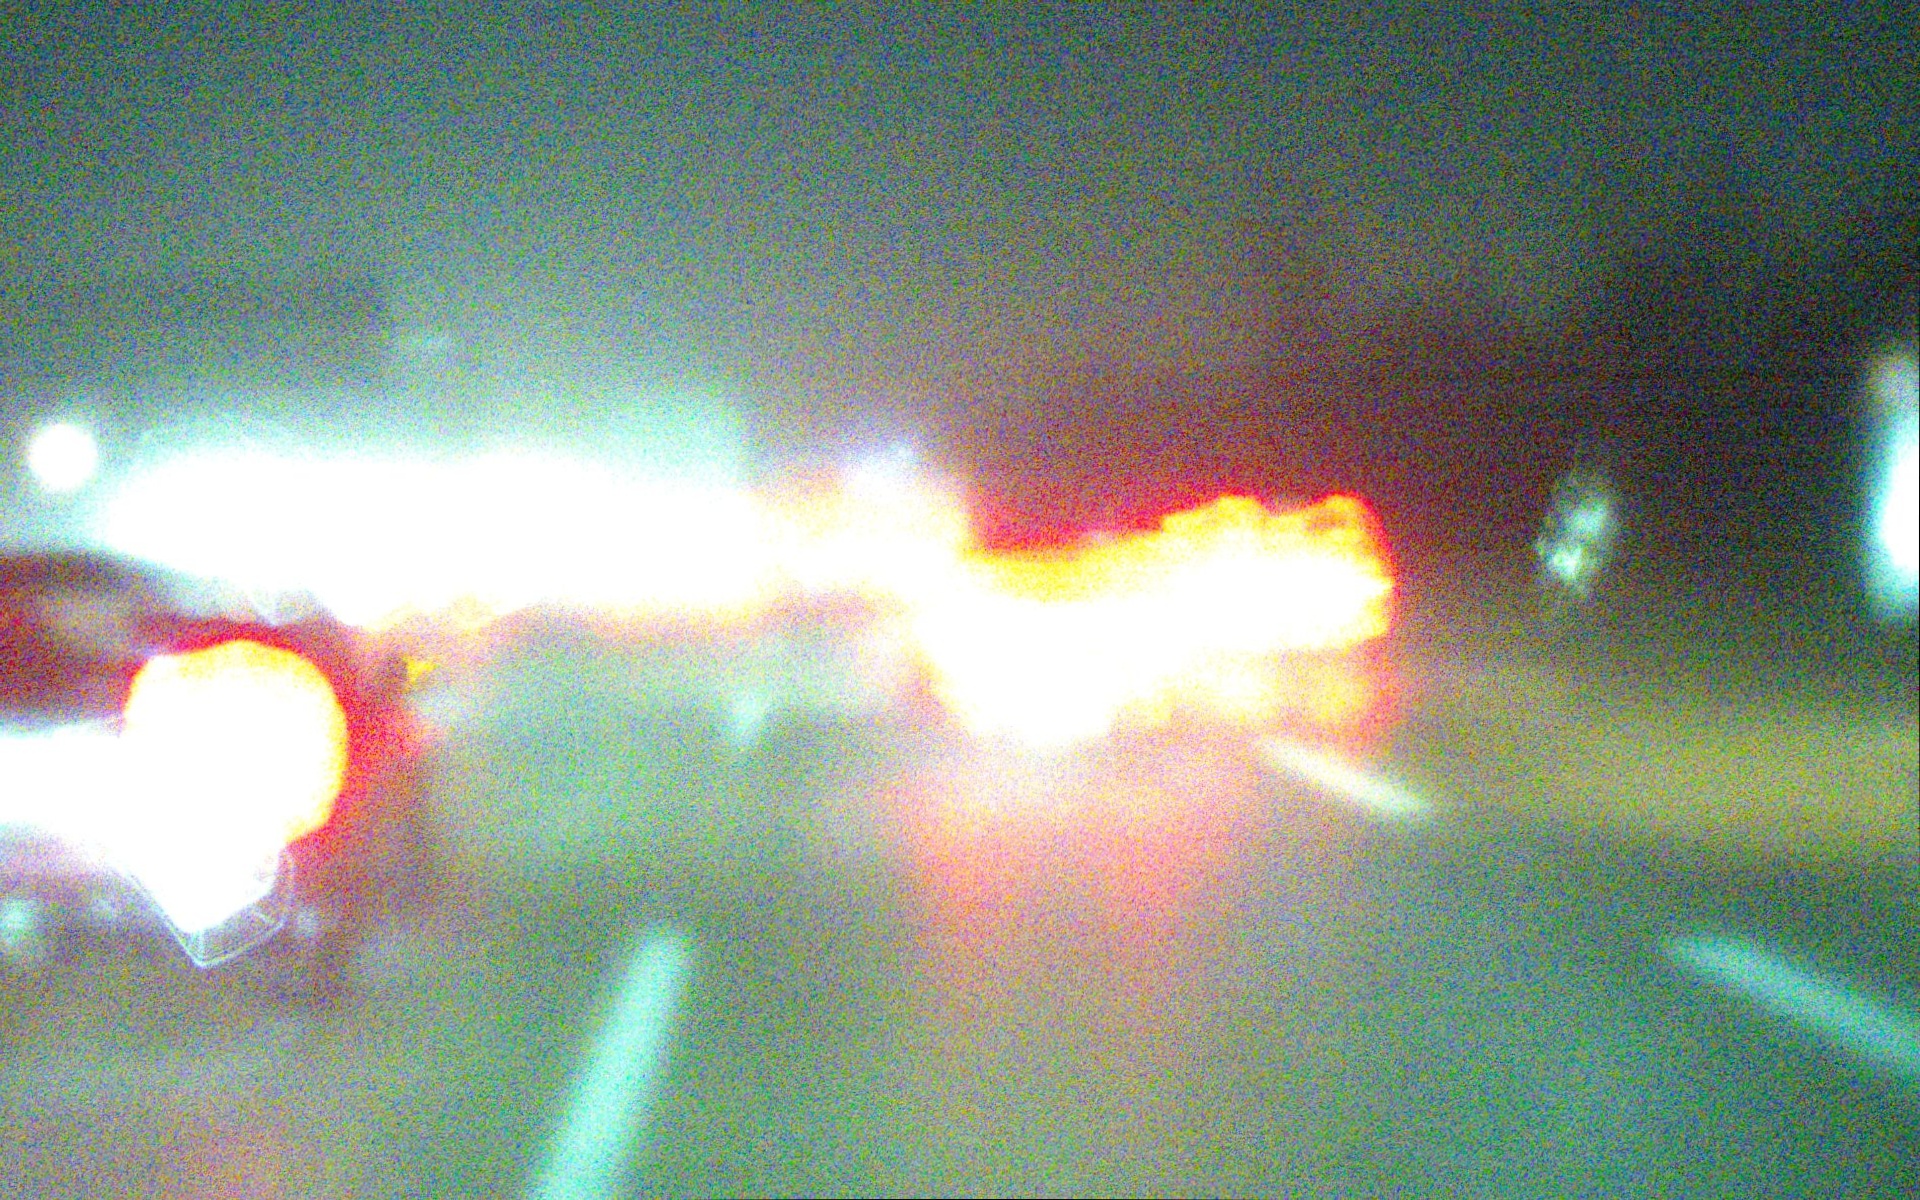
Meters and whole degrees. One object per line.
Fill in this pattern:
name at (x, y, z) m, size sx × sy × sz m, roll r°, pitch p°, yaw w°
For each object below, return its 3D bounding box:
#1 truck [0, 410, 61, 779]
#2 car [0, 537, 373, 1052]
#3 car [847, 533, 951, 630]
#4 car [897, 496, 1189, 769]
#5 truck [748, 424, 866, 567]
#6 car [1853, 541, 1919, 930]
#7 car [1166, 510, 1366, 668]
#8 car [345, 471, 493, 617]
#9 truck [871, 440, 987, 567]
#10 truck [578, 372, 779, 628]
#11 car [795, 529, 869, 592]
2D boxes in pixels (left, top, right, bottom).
truck at (-7.045, -0.037, 19.359) m, size 2.856 × 2.193 × 5.859 m, roll 1°, pitch 1°, yaw -5°
car at (-2.959, 0.516, 11.864) m, size 1.656 × 1.426 × 4.247 m, roll 0°, pitch 1°, yaw -7°
car at (-1.177, -0.368, 65.024) m, size 1.765 × 1.756 × 4.001 m, roll 1°, pitch 1°, yaw -4°
car at (0.479, 0.151, 23.337) m, size 1.765 × 1.683 × 4.001 m, roll 0°, pitch 1°, yaw -2°
truck at (-6.017, -4.049, 137.358) m, size 4.254 × 5.425 × 10.885 m, roll 1°, pitch 1°, yaw -1°
car at (4.534, 0.540, 11.607) m, size 1.769 × 1.452 × 4.196 m, roll 0°, pitch 1°, yaw -3°
car at (3.559, -0.144, 40.647) m, size 1.878 × 1.756 × 4.000 m, roll 1°, pitch 1°, yaw -2°
car at (-8.890, -0.909, 56.672) m, size 2.263 × 2.265 × 5.387 m, roll 1°, pitch 1°, yaw -9°
truck at (-1.414, -4.052, 147.686) m, size 4.161 × 5.197 × 9.956 m, roll 1°, pitch 1°, yaw -5°
truck at (-5.782, -1.908, 68.921) m, size 3.655 × 4.721 × 9.854 m, roll 1°, pitch 1°, yaw -6°
car at (-3.570, -1.093, 96.034) m, size 1.993 × 1.698 × 4.459 m, roll 1°, pitch 1°, yaw -2°
